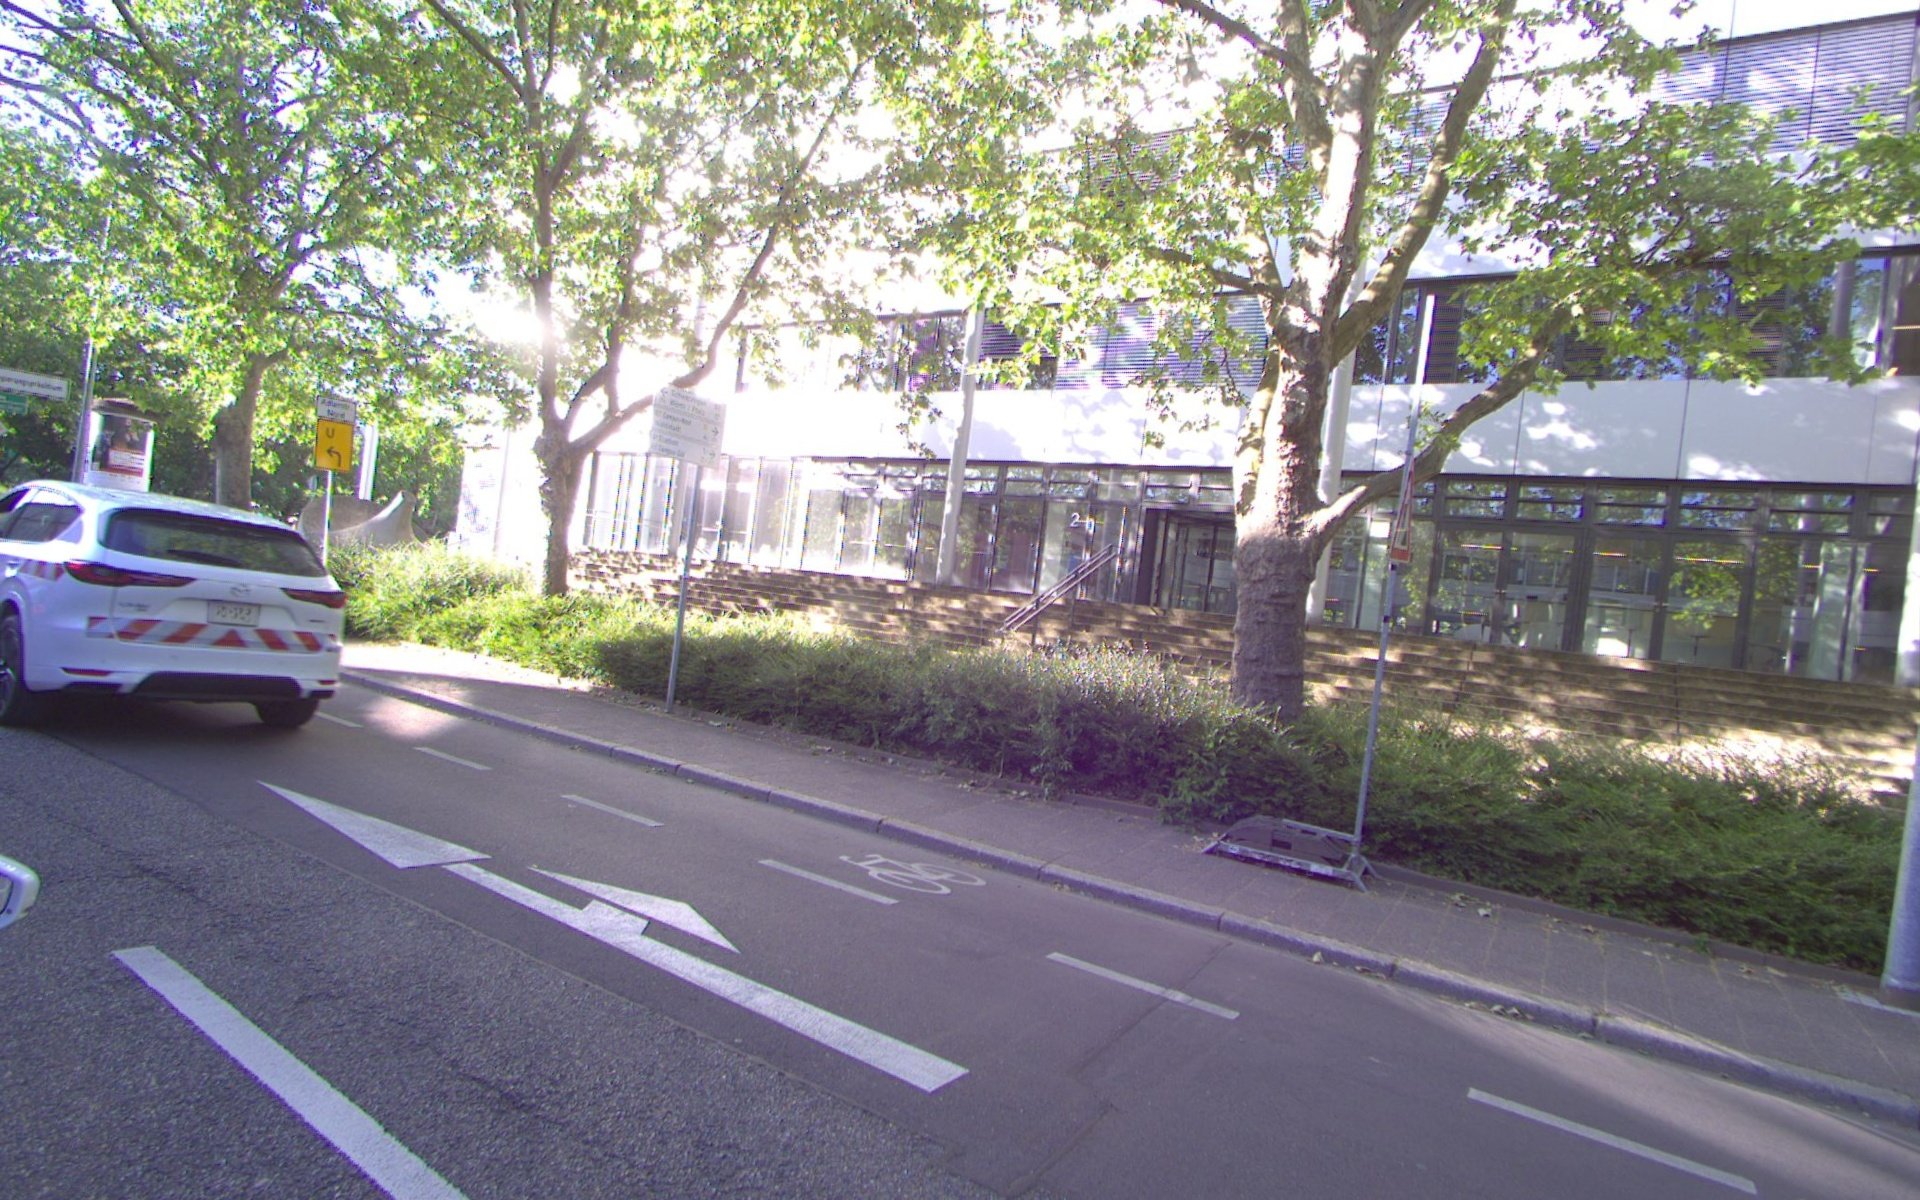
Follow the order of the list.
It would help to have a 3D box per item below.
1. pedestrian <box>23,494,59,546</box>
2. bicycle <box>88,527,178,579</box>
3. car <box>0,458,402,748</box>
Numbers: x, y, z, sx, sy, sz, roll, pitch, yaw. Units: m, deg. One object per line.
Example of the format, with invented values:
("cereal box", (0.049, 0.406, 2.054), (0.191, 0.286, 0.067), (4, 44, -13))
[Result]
("pedestrian", (-34.006, -2.941, 37.222), (0.672, 1.793, 0.613), (8, -1, -29))
("bicycle", (-19.039, -1.072, 23.179), (0.295, 0.991, 1.484), (6, -2, 37))
("car", (-6.737, -0.074, 8.103), (4.410, 1.727, 1.946), (7, -2, 33))
